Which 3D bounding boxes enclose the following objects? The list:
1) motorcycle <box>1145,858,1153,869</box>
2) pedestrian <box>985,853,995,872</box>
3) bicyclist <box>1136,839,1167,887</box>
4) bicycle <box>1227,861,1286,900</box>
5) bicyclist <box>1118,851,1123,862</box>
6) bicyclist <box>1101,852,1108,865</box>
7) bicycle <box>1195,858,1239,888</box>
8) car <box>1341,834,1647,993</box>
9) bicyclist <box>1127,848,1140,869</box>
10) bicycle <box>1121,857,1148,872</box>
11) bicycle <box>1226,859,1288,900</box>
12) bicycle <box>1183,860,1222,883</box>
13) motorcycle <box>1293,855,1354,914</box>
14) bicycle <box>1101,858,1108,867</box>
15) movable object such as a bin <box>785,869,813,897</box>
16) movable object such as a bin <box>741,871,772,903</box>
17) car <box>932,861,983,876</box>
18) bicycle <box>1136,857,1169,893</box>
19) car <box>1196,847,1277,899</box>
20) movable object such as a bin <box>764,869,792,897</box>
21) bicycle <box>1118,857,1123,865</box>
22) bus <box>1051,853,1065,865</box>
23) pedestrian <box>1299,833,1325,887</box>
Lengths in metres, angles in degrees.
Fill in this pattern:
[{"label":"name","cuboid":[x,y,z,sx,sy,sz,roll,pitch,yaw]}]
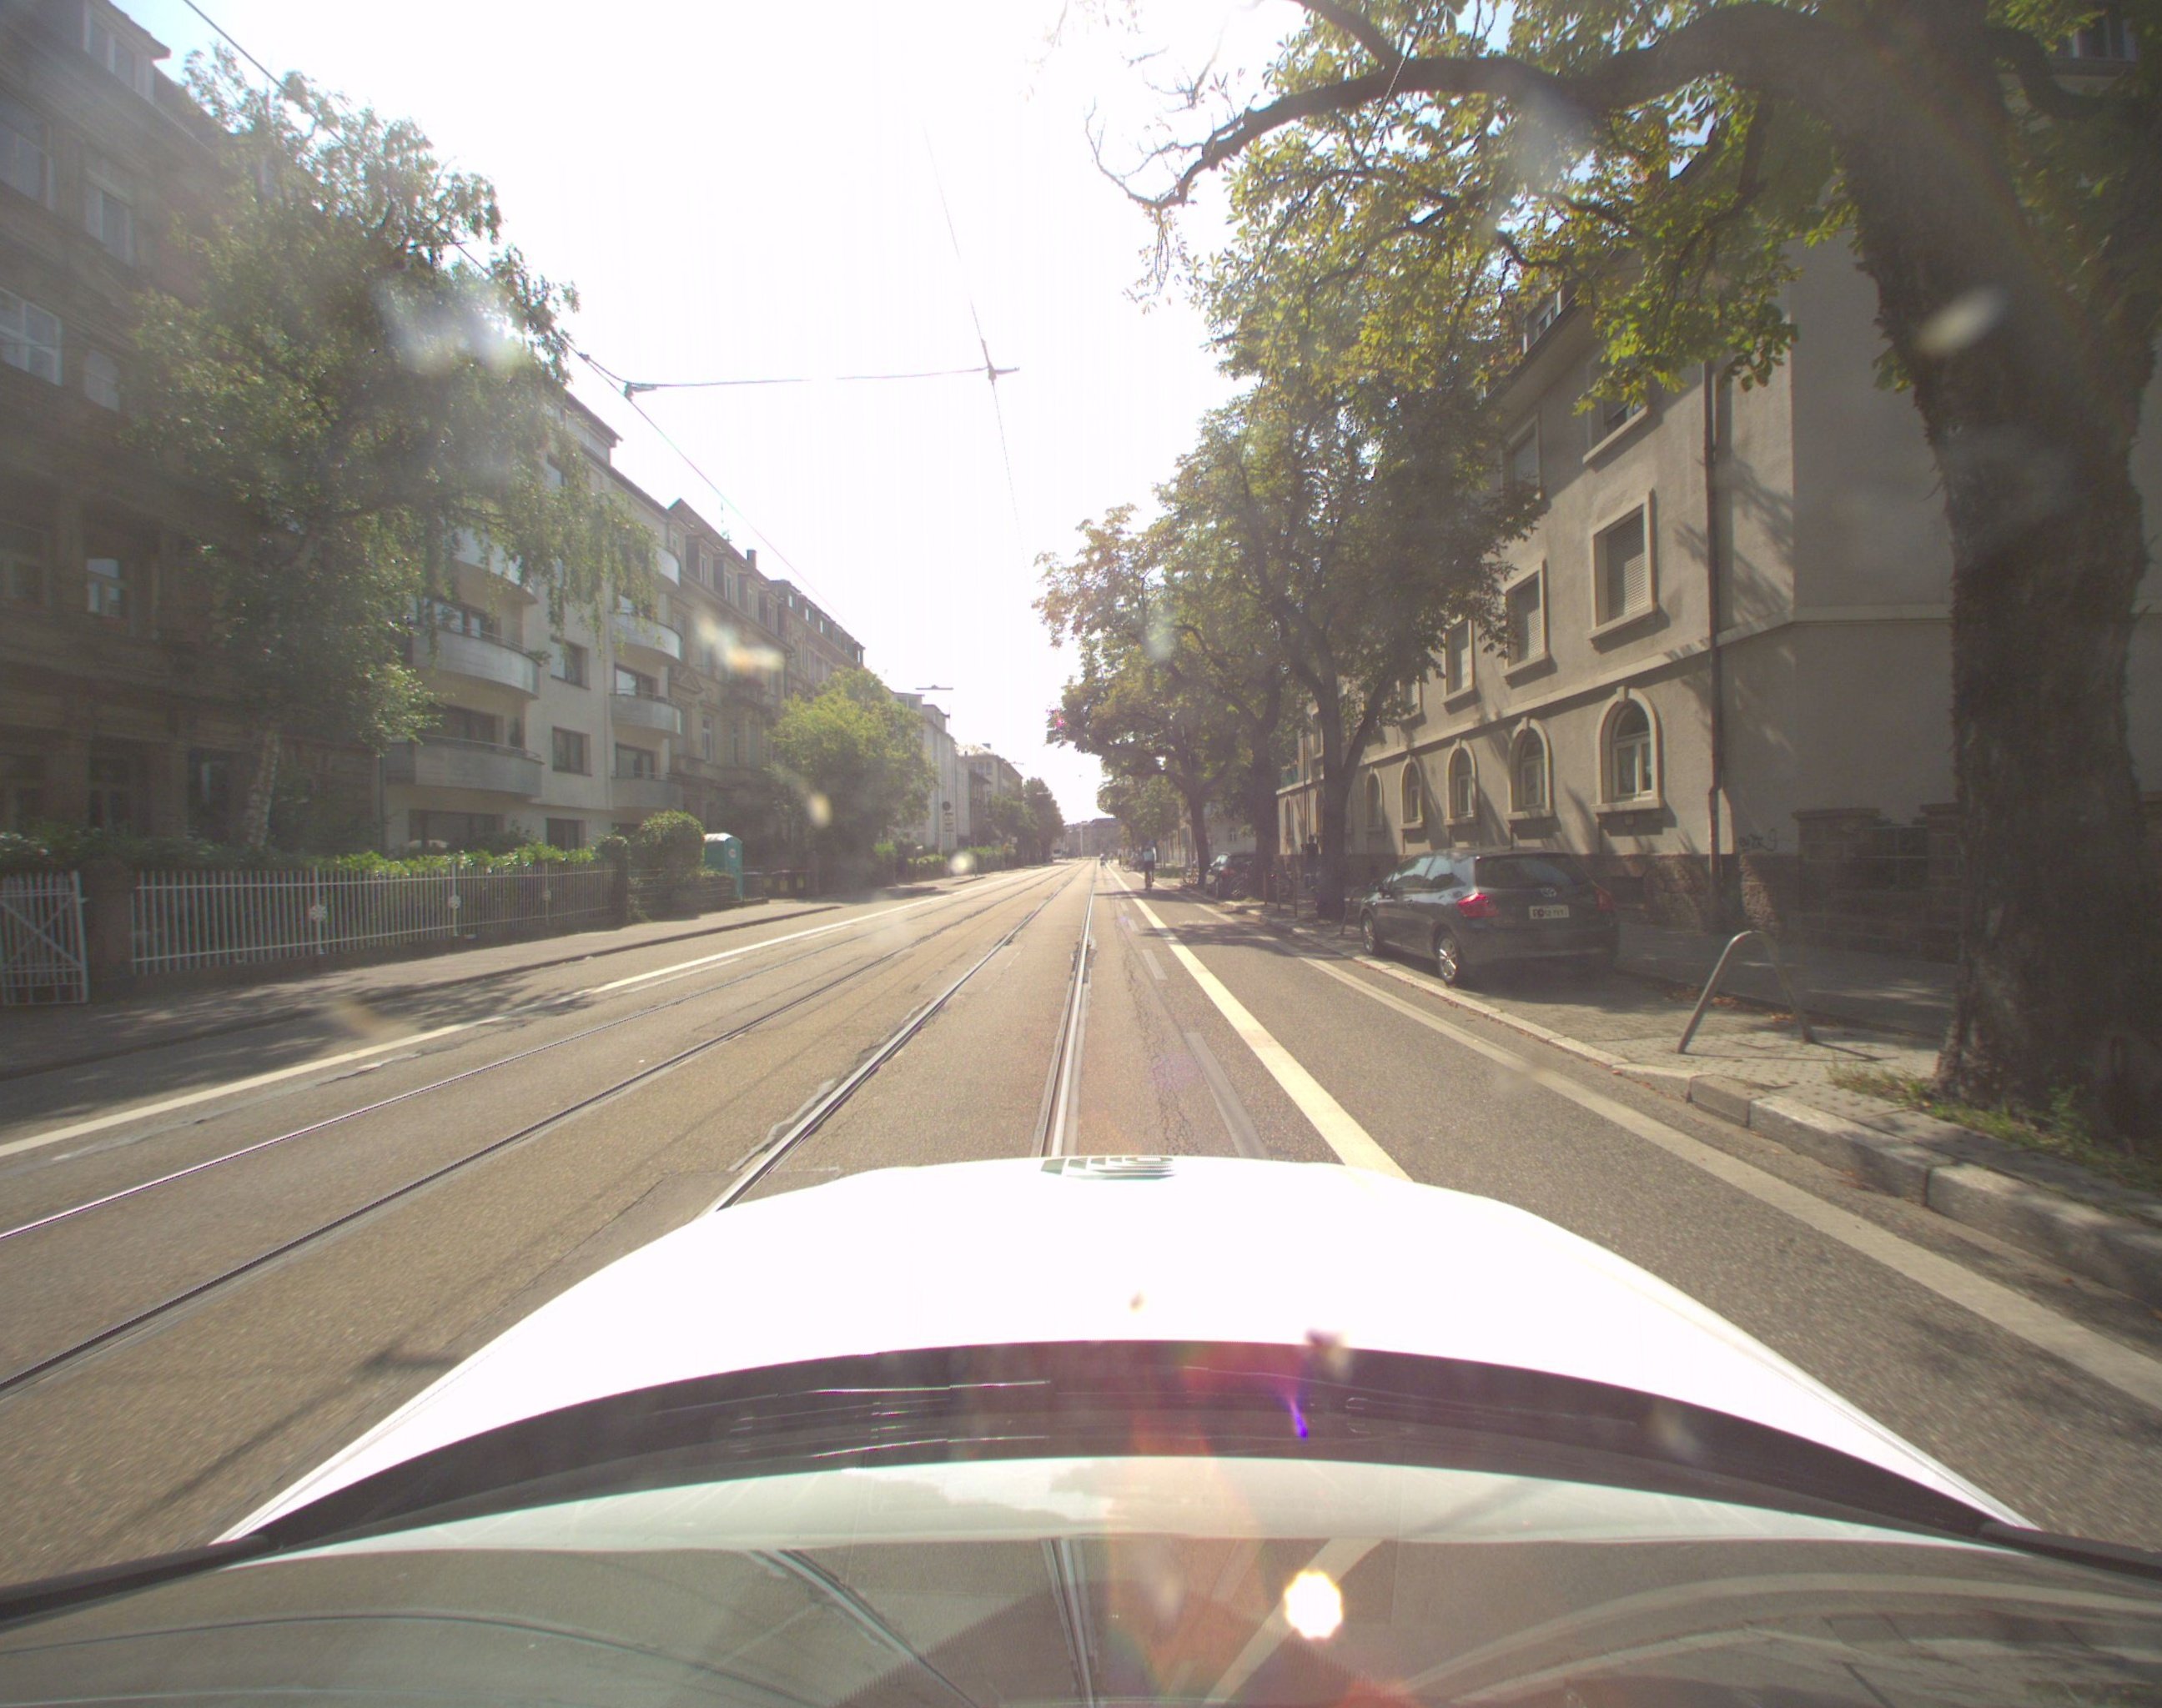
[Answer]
[{"label":"motorcycle","cuboid":[6.667,0.959,79.864,0.547,1.068,2.331,-1,0,1]},{"label":"pedestrian","cuboid":[-8.745,0.831,78.111,0.777,1.756,1.041,-2,-1,1]},{"label":"bicyclist","cuboid":[2.734,0.353,31.841,1.121,1.837,0.956,-1,-1,1]},{"label":"bicycle","cuboid":[5.021,0.760,23.376,1.597,1.103,0.399,-1,0,7]},{"label":"bicyclist","cuboid":[4.716,0.255,96.795,0.576,1.279,0.472,-1,-1,3]},{"label":"bicyclist","cuboid":[2.709,0.518,93.555,0.755,1.391,0.780,-1,-1,3]},{"label":"bicycle","cuboid":[5.498,0.764,32.876,1.713,1.136,0.377,-2,0,7]},{"label":"car","cuboid":[4.870,0.558,10.358,1.834,1.532,4.116,-2,2,1]},{"label":"bicyclist","cuboid":[4.267,0.381,66.317,0.817,1.643,0.789,-1,0,19]},{"label":"bicycle","cuboid":[4.346,0.872,66.299,2.018,1.151,0.789,-1,0,19]},{"label":"bicycle","cuboid":[5.128,0.741,23.762,1.713,1.149,0.377,-1,0,7]},{"label":"bicycle","cuboid":[5.623,0.806,37.775,1.706,1.032,0.567,-2,0,1]},{"label":"motorcycle","cuboid":[5.501,0.657,18.614,0.708,1.255,2.176,-1,0,0]},{"label":"bicycle","cuboid":[2.721,0.931,93.520,0.755,0.991,2.300,-2,0,3]},{"label":"movable object such as a bin","cuboid":[-11.042,1.128,31.905,0.783,1.075,0.804,0,0,4]},{"label":"movable object such as a bin","cuboid":[-11.322,1.156,28.442,0.784,1.075,0.754,0,0,-1]},{"label":"car","cuboid":[-11.524,1.358,75.845,4.194,1.184,2.010,-3,-1,21]},{"label":"bicycle","cuboid":[2.756,0.799,31.811,1.143,1.269,2.714,-2,0,3]},{"label":"car","cuboid":[5.189,0.597,27.766,1.834,1.532,4.780,-3,0,1]},{"label":"movable object such as a bin","cuboid":[-11.855,1.136,31.877,0.783,1.075,0.804,0,0,4]},{"label":"bicycle","cuboid":[4.732,0.878,96.808,0.585,0.939,2.174,-2,0,3]},{"label":"bus","cuboid":[-6.824,1.487,245.680,3.722,3.364,15.119,-1,0,1]},{"label":"pedestrian","cuboid":[8.241,0.202,29.058,0.703,1.892,0.714,-1,-1,2]}]
